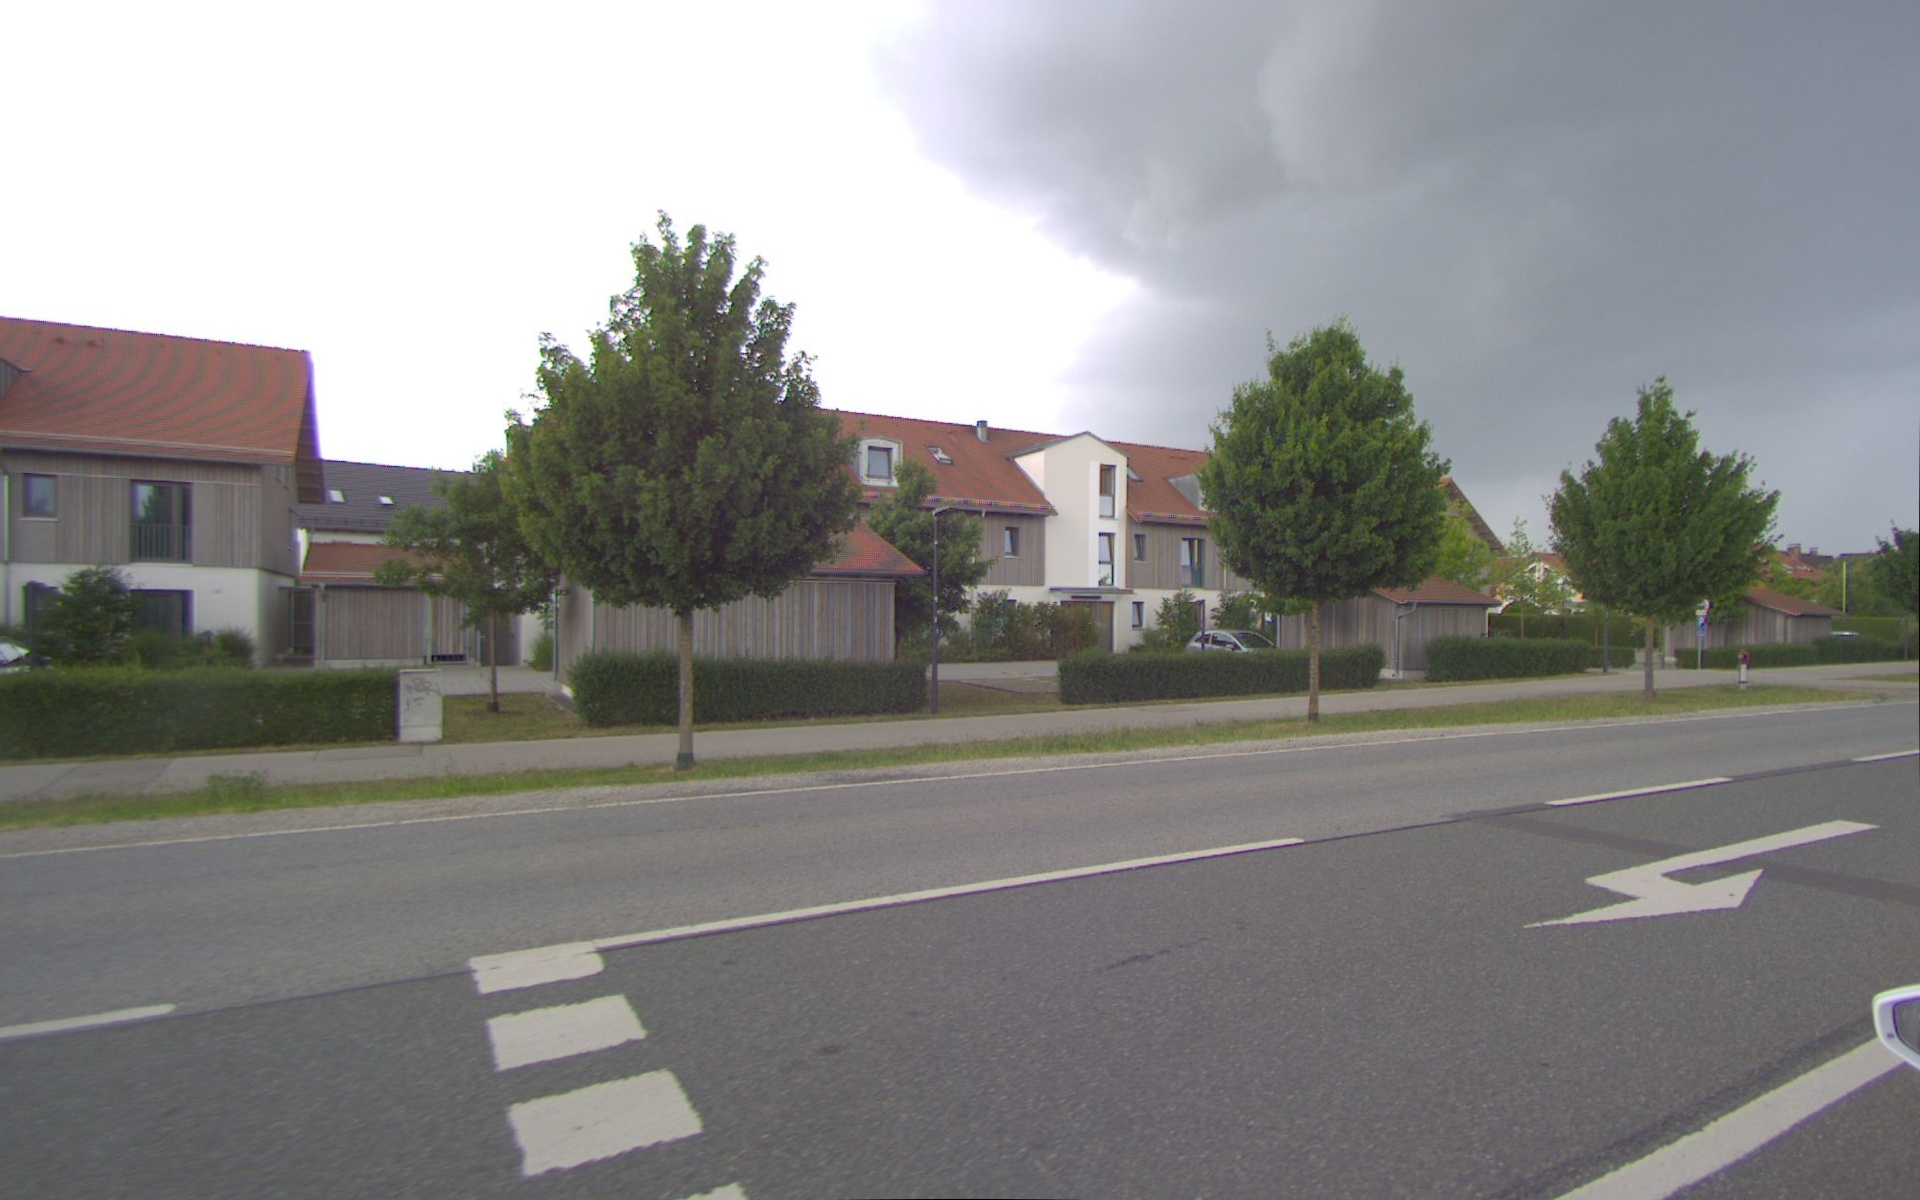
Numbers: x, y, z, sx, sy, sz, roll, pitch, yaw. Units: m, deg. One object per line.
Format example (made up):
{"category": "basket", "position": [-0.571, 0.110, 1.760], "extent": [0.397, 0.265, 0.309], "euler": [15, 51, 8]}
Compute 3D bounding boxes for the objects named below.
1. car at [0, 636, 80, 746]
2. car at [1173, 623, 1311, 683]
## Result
{"category": "car", "position": [-15.981, 1.402, 16.067], "extent": [1.975, 1.639, 3.972], "euler": [1, -2, -28]}
{"category": "car", "position": [8.743, 1.596, 31.454], "extent": [1.975, 1.577, 3.970], "euler": [1, 1, -28]}
